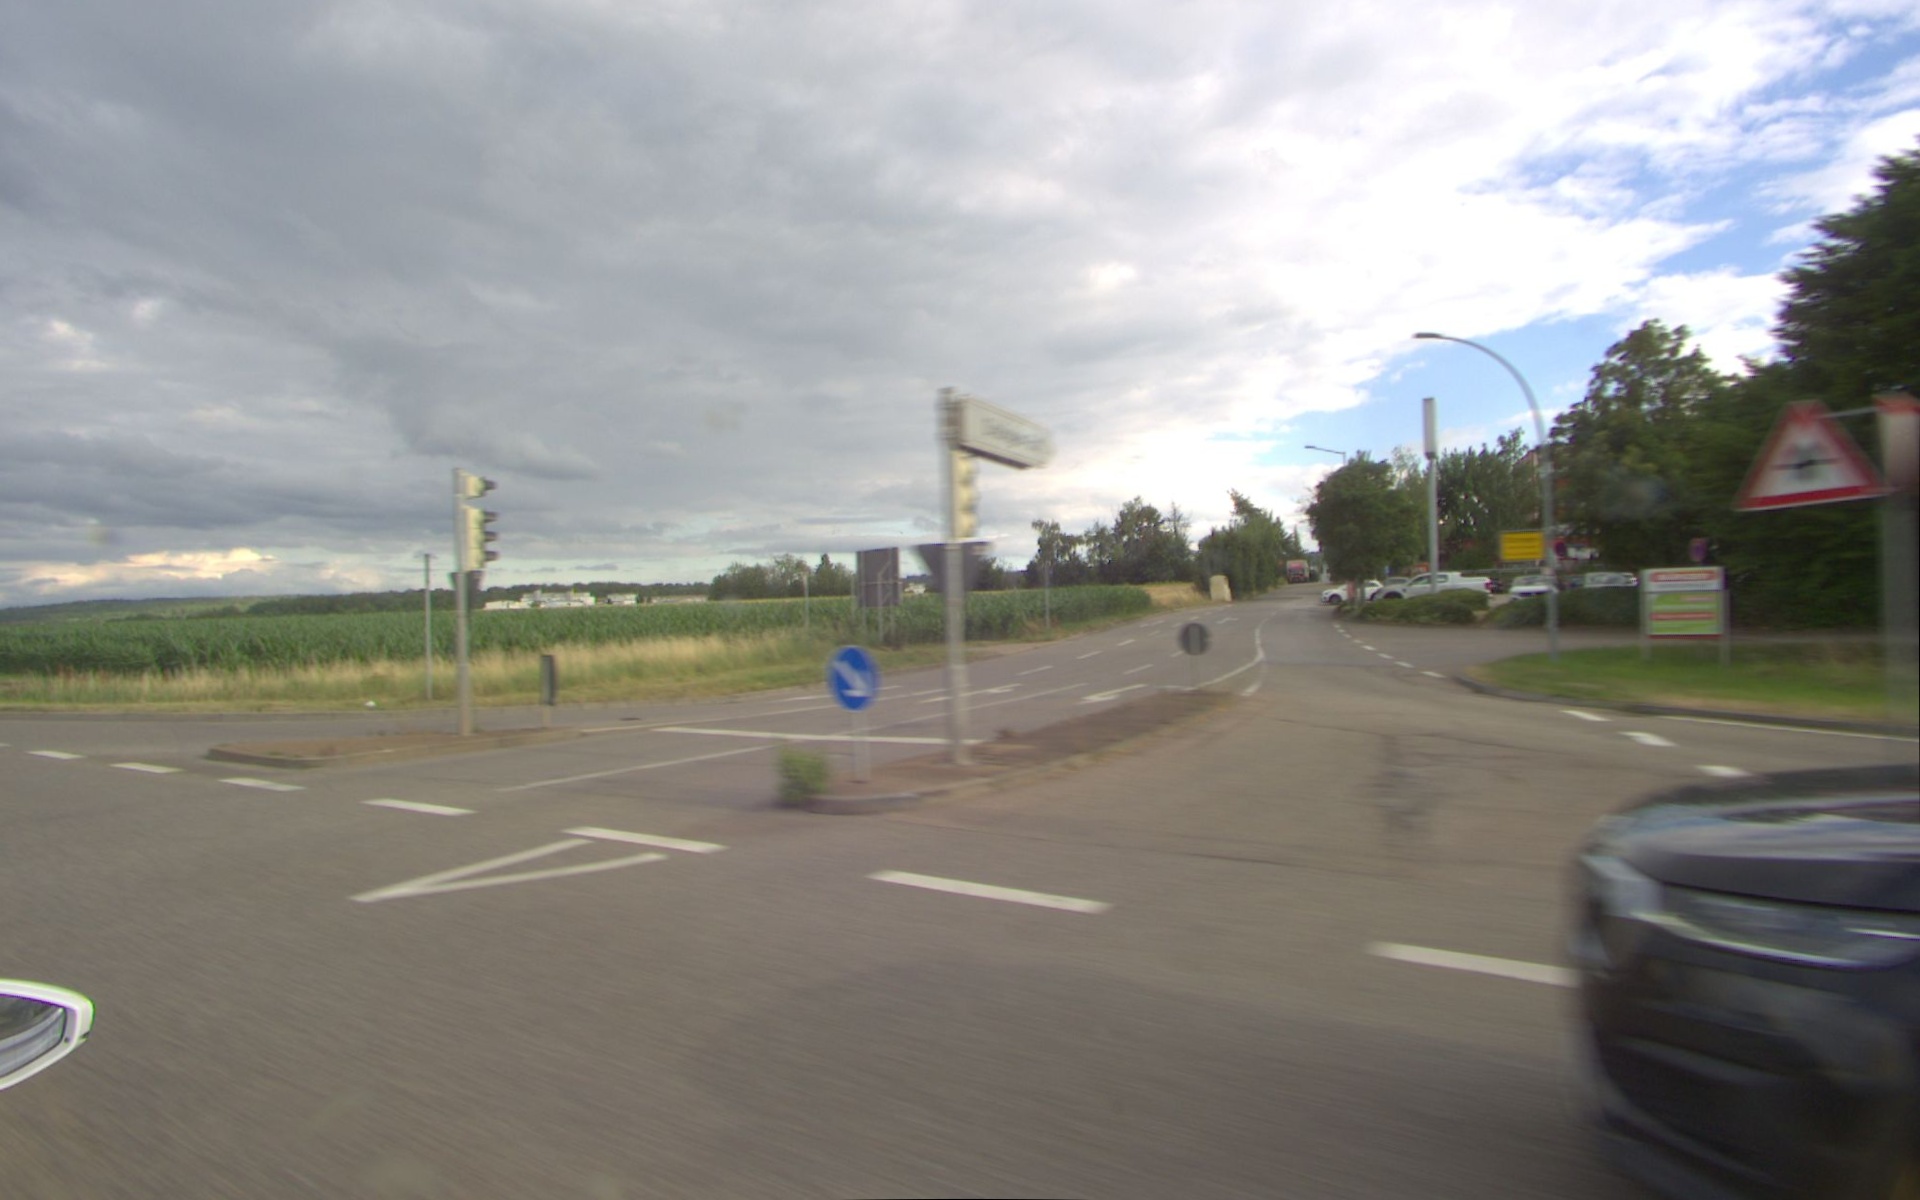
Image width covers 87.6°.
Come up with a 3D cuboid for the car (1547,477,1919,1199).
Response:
[{"bbox_3d":[3.461,0.634,1.507,4.416,1.670,1.842,-1,-2,32],"label":"car"}]

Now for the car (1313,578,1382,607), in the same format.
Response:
[{"bbox_3d":[26.379,-0.507,68.204,4.259,1.802,1.993,-2,0,25],"label":"car"}]

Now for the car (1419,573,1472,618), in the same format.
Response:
[{"bbox_3d":[22.646,-0.261,46.617,1.931,1.909,4.284,-1,2,29],"label":"car"}]

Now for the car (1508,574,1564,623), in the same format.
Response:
[{"bbox_3d":[24.509,-0.096,42.708,1.931,1.909,4.284,-1,2,29],"label":"car"}]

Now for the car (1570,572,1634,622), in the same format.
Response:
[{"bbox_3d":[26.466,-0.154,41.409,1.931,1.877,4.284,-1,2,29],"label":"car"}]

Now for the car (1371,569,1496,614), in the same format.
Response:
[{"bbox_3d":[23.619,-0.404,50.108,5.525,2.040,1.993,-2,0,25],"label":"car"}]

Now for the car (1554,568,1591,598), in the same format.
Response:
[{"bbox_3d":[41.826,-1.186,68.403,1.931,1.850,4.284,-1,2,29],"label":"car"}]
